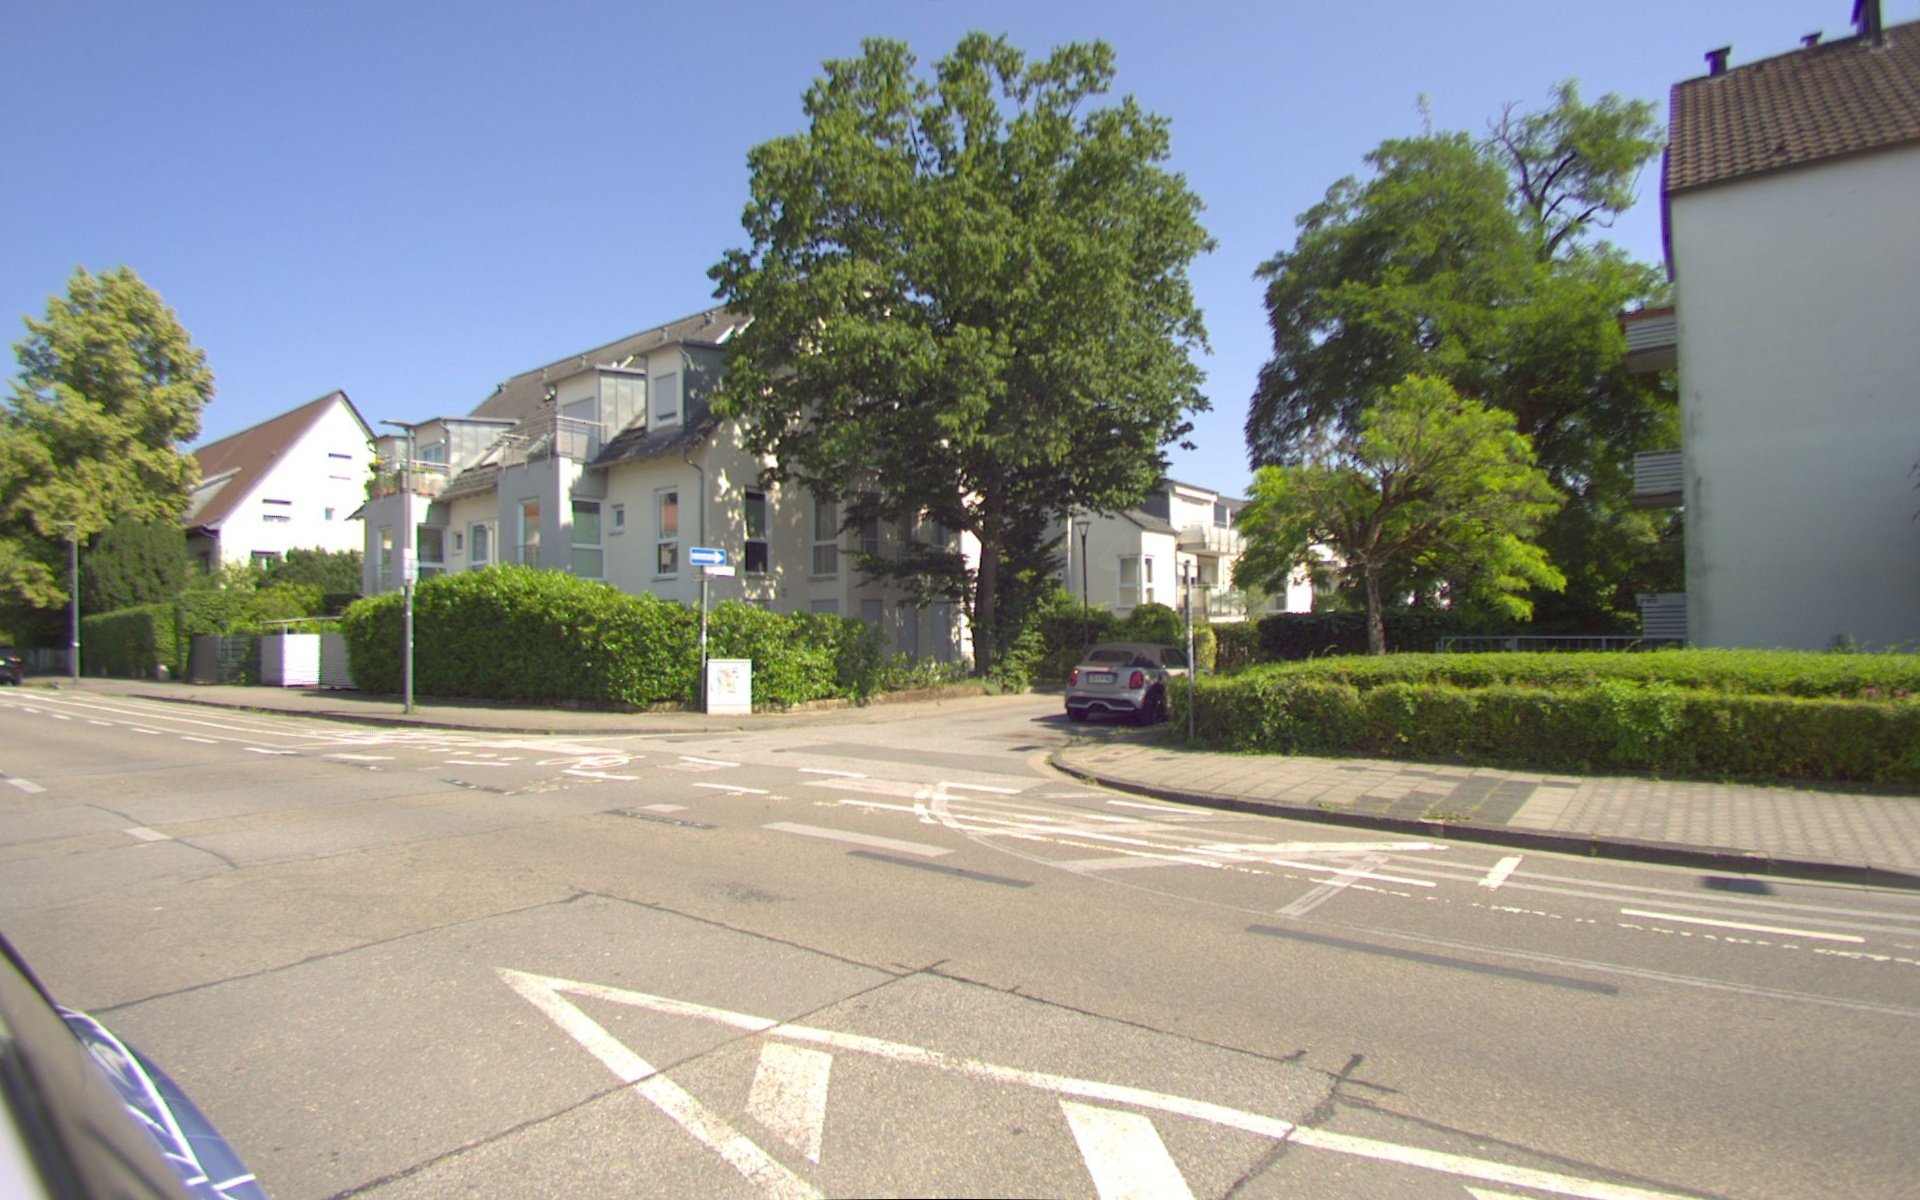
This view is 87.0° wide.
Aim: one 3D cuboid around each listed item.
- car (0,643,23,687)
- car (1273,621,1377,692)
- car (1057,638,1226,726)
[{"bbox_3d":[-37.857,2.490,38.984,4.440,1.623,1.833,-2,-4,37],"label":"car"},{"bbox_3d":[9.793,1.455,27.010,1.642,1.758,3.460,-2,-2,37],"label":"car"},{"bbox_3d":[3.438,1.436,18.773,1.723,1.423,3.460,-1,-2,37],"label":"car"}]
